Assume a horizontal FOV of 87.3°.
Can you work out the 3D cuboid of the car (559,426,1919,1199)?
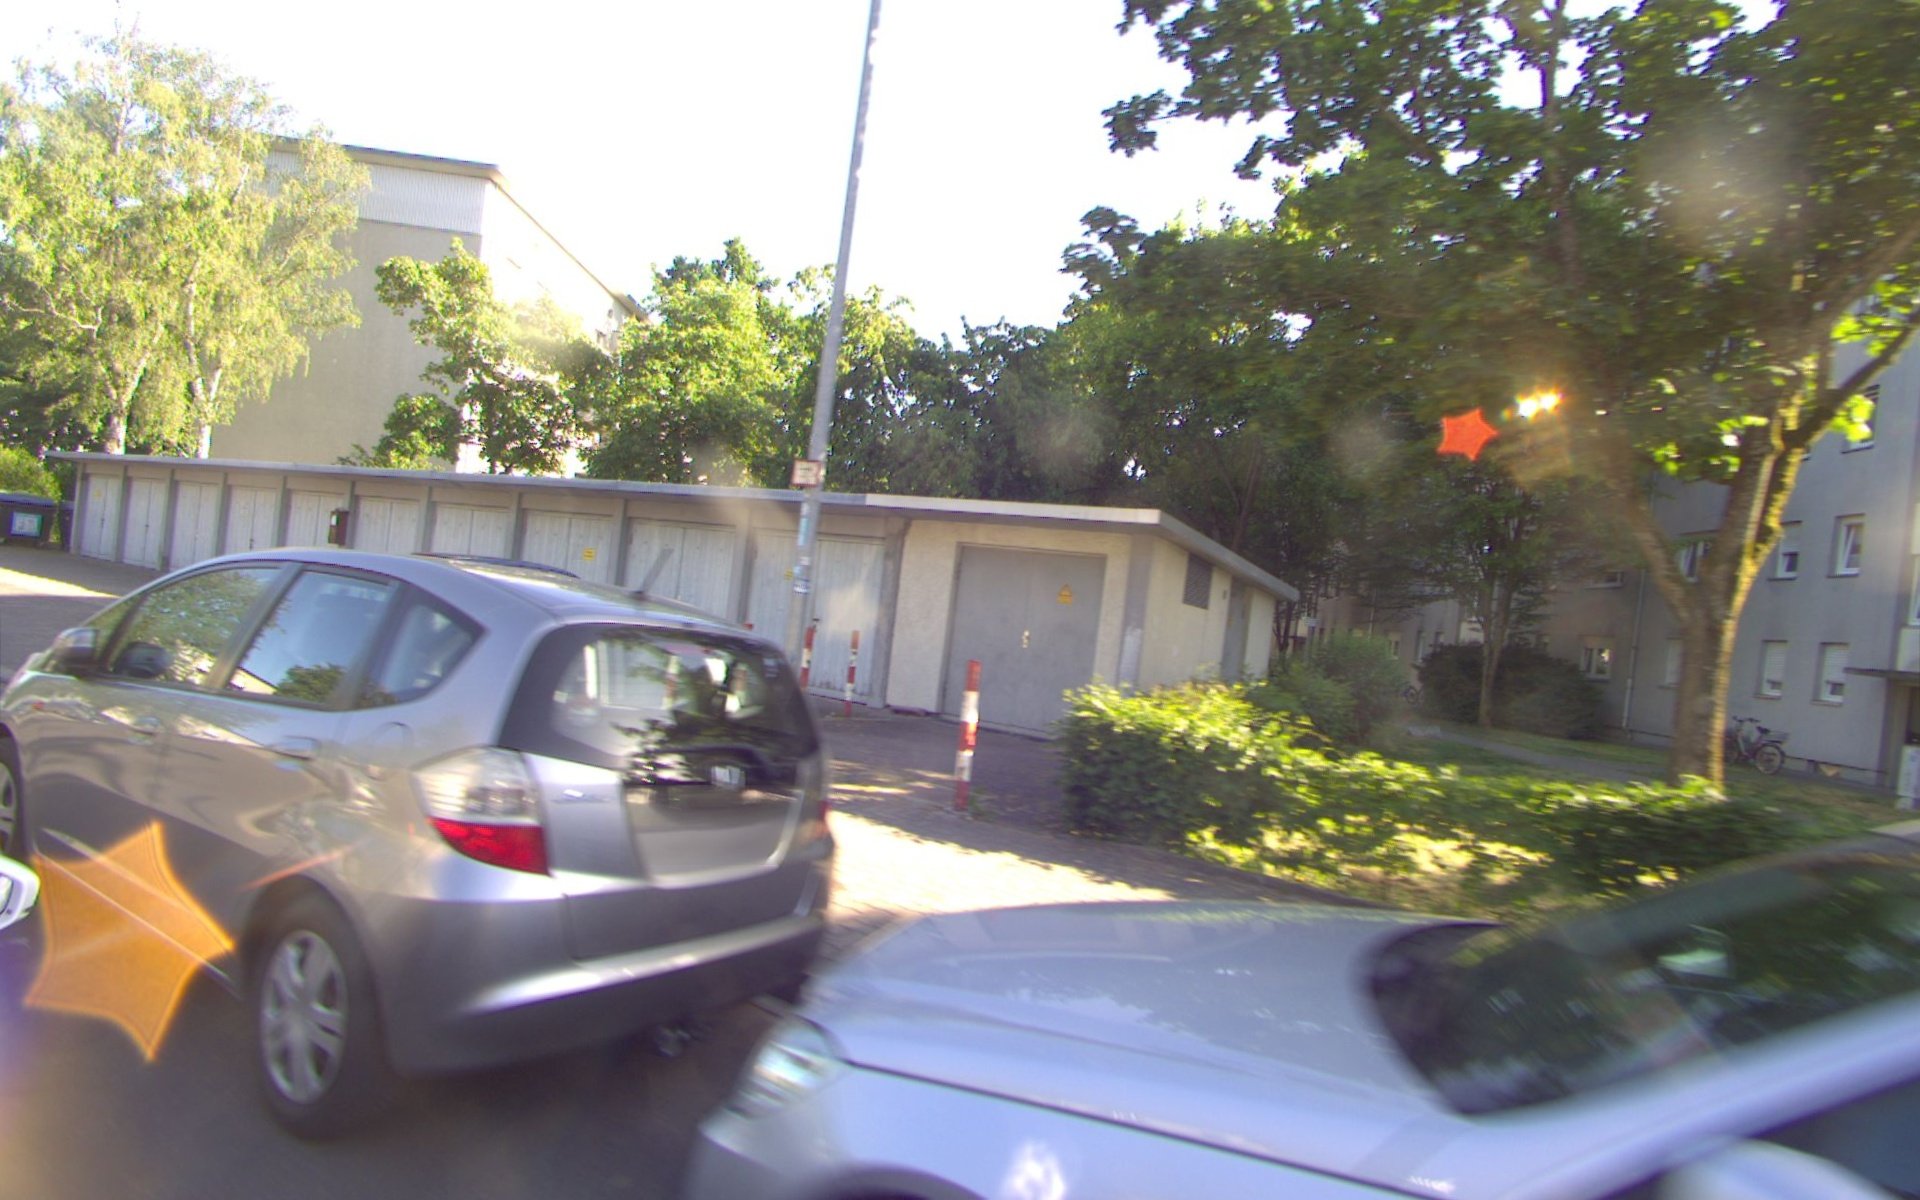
[{"bbox_3d":[1.736,0.754,1.377,4.564,1.564,1.833,6,-1,32],"label":"car"}]

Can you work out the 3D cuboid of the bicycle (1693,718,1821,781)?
[{"bbox_3d":[16.102,2.990,20.421,0.537,0.853,2.416,7,0,-1],"label":"bicycle"}]

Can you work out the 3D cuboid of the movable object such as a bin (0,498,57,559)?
[{"bbox_3d":[-26.484,-2.025,28.288,1.115,1.484,1.277,11,2,34],"label":"movable object such as a bin"}]

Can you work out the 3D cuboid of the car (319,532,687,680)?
[{"bbox_3d":[-5.896,0.183,13.560,1.786,1.512,4.192,7,-1,28],"label":"car"}]

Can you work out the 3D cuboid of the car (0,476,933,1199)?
[{"bbox_3d":[-2.223,0.475,3.947,3.733,1.512,1.807,6,-1,32],"label":"car"}]

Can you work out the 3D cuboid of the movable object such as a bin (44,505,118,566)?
[{"bbox_3d":[-25.726,-1.880,29.439,1.115,1.484,1.277,11,2,34],"label":"movable object such as a bin"}]
